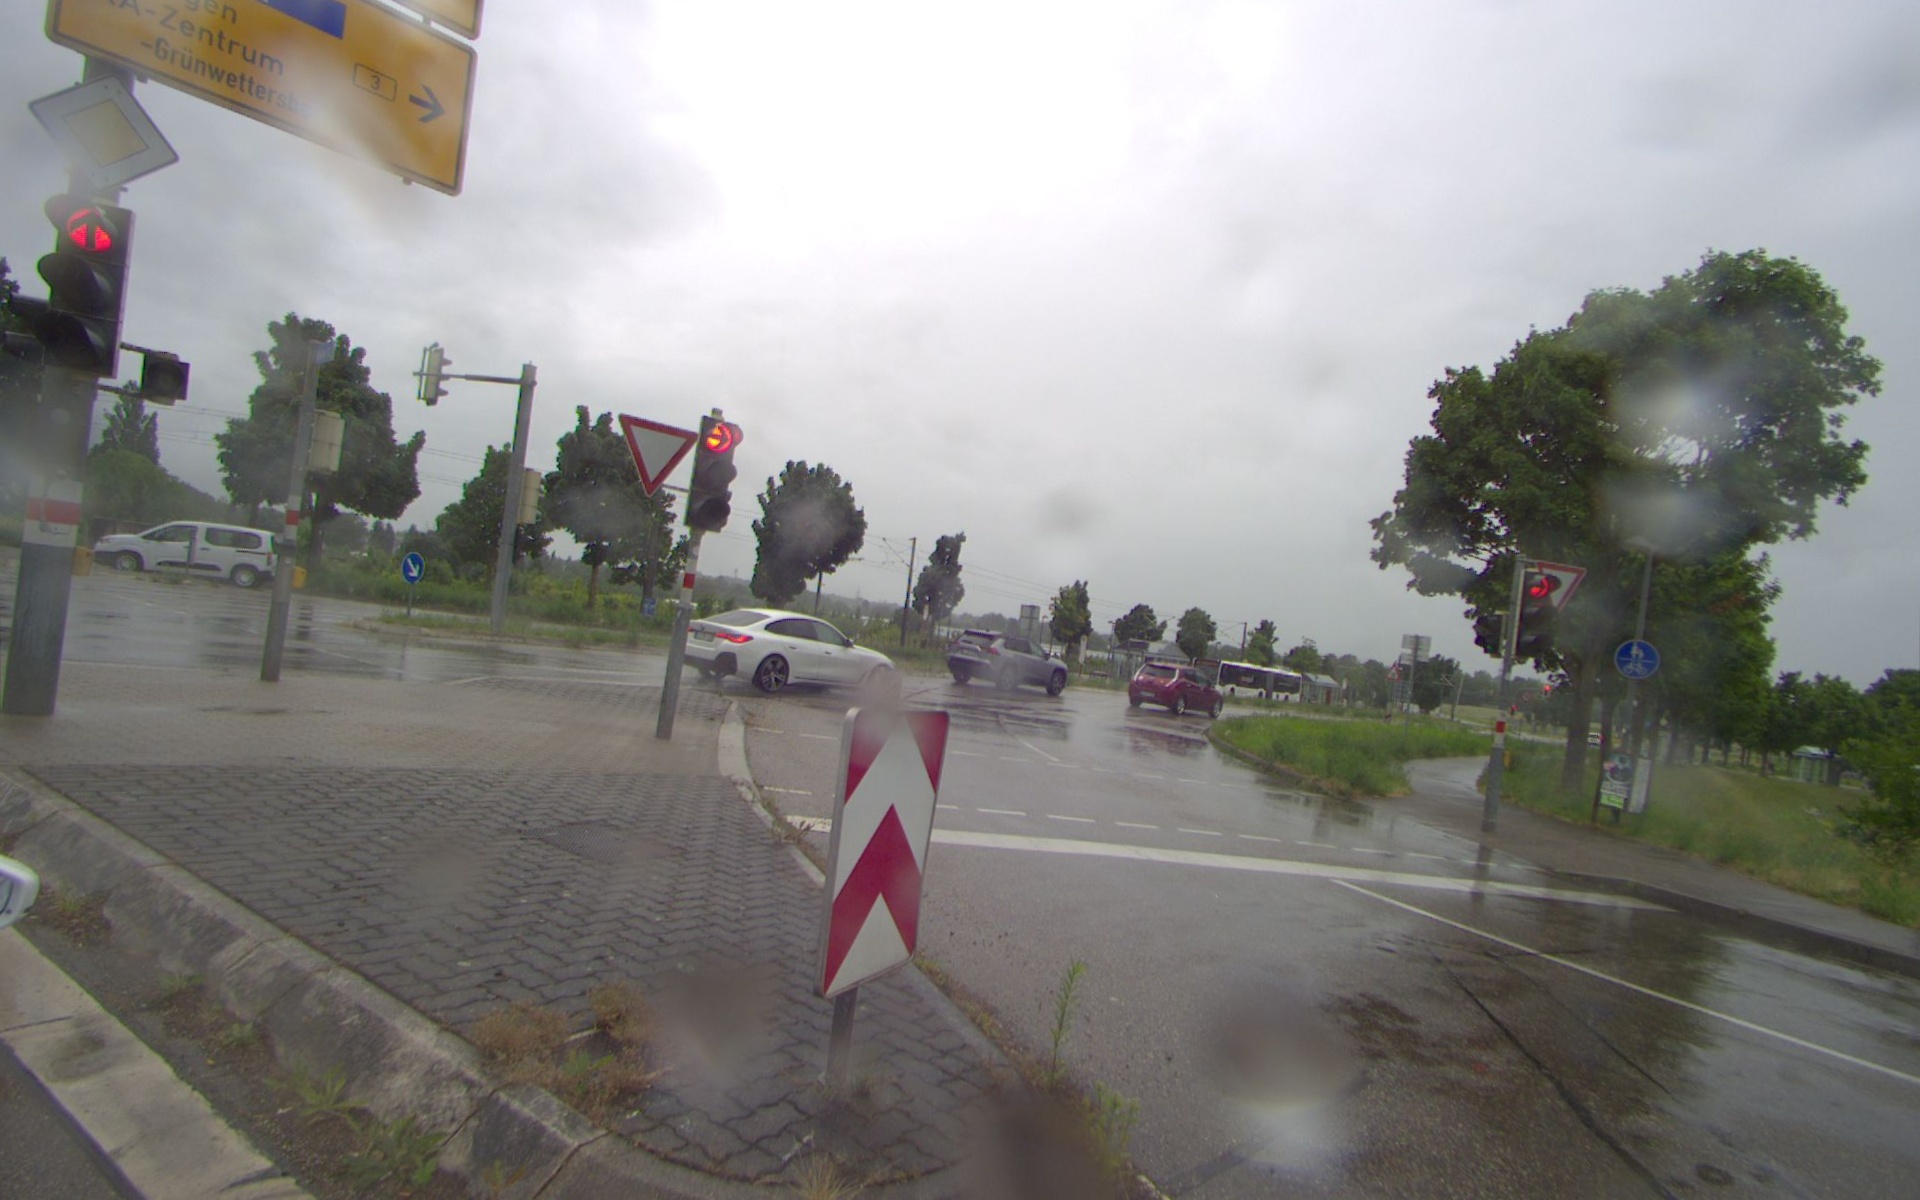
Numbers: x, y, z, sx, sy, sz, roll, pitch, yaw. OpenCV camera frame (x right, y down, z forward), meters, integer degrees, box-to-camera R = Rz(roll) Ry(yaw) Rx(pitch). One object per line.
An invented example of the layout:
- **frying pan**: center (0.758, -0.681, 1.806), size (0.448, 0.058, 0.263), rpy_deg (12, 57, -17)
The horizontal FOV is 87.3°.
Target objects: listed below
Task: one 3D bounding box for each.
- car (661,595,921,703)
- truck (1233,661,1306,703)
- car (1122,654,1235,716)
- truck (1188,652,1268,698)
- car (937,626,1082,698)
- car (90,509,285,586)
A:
- **car**: center (-3.075, 1.010, 19.323), size (1.773, 1.572, 4.881), rpy_deg (7, -1, 39)
- **truck**: center (27.111, 7.208, 87.759), size (2.617, 2.804, 9.323), rpy_deg (7, -2, 39)
- **car**: center (7.195, 2.820, 32.832), size (1.707, 1.598, 4.375), rpy_deg (7, -2, 39)
- **truck**: center (21.559, 6.058, 80.659), size (2.617, 2.864, 8.820), rpy_deg (7, -2, 39)
- **car**: center (1.561, 1.906, 30.295), size (1.885, 1.597, 4.527), rpy_deg (7, -3, 40)
- **car**: center (-22.815, -1.529, 29.964), size (4.305, 1.572, 1.807), rpy_deg (8, -1, -32)
